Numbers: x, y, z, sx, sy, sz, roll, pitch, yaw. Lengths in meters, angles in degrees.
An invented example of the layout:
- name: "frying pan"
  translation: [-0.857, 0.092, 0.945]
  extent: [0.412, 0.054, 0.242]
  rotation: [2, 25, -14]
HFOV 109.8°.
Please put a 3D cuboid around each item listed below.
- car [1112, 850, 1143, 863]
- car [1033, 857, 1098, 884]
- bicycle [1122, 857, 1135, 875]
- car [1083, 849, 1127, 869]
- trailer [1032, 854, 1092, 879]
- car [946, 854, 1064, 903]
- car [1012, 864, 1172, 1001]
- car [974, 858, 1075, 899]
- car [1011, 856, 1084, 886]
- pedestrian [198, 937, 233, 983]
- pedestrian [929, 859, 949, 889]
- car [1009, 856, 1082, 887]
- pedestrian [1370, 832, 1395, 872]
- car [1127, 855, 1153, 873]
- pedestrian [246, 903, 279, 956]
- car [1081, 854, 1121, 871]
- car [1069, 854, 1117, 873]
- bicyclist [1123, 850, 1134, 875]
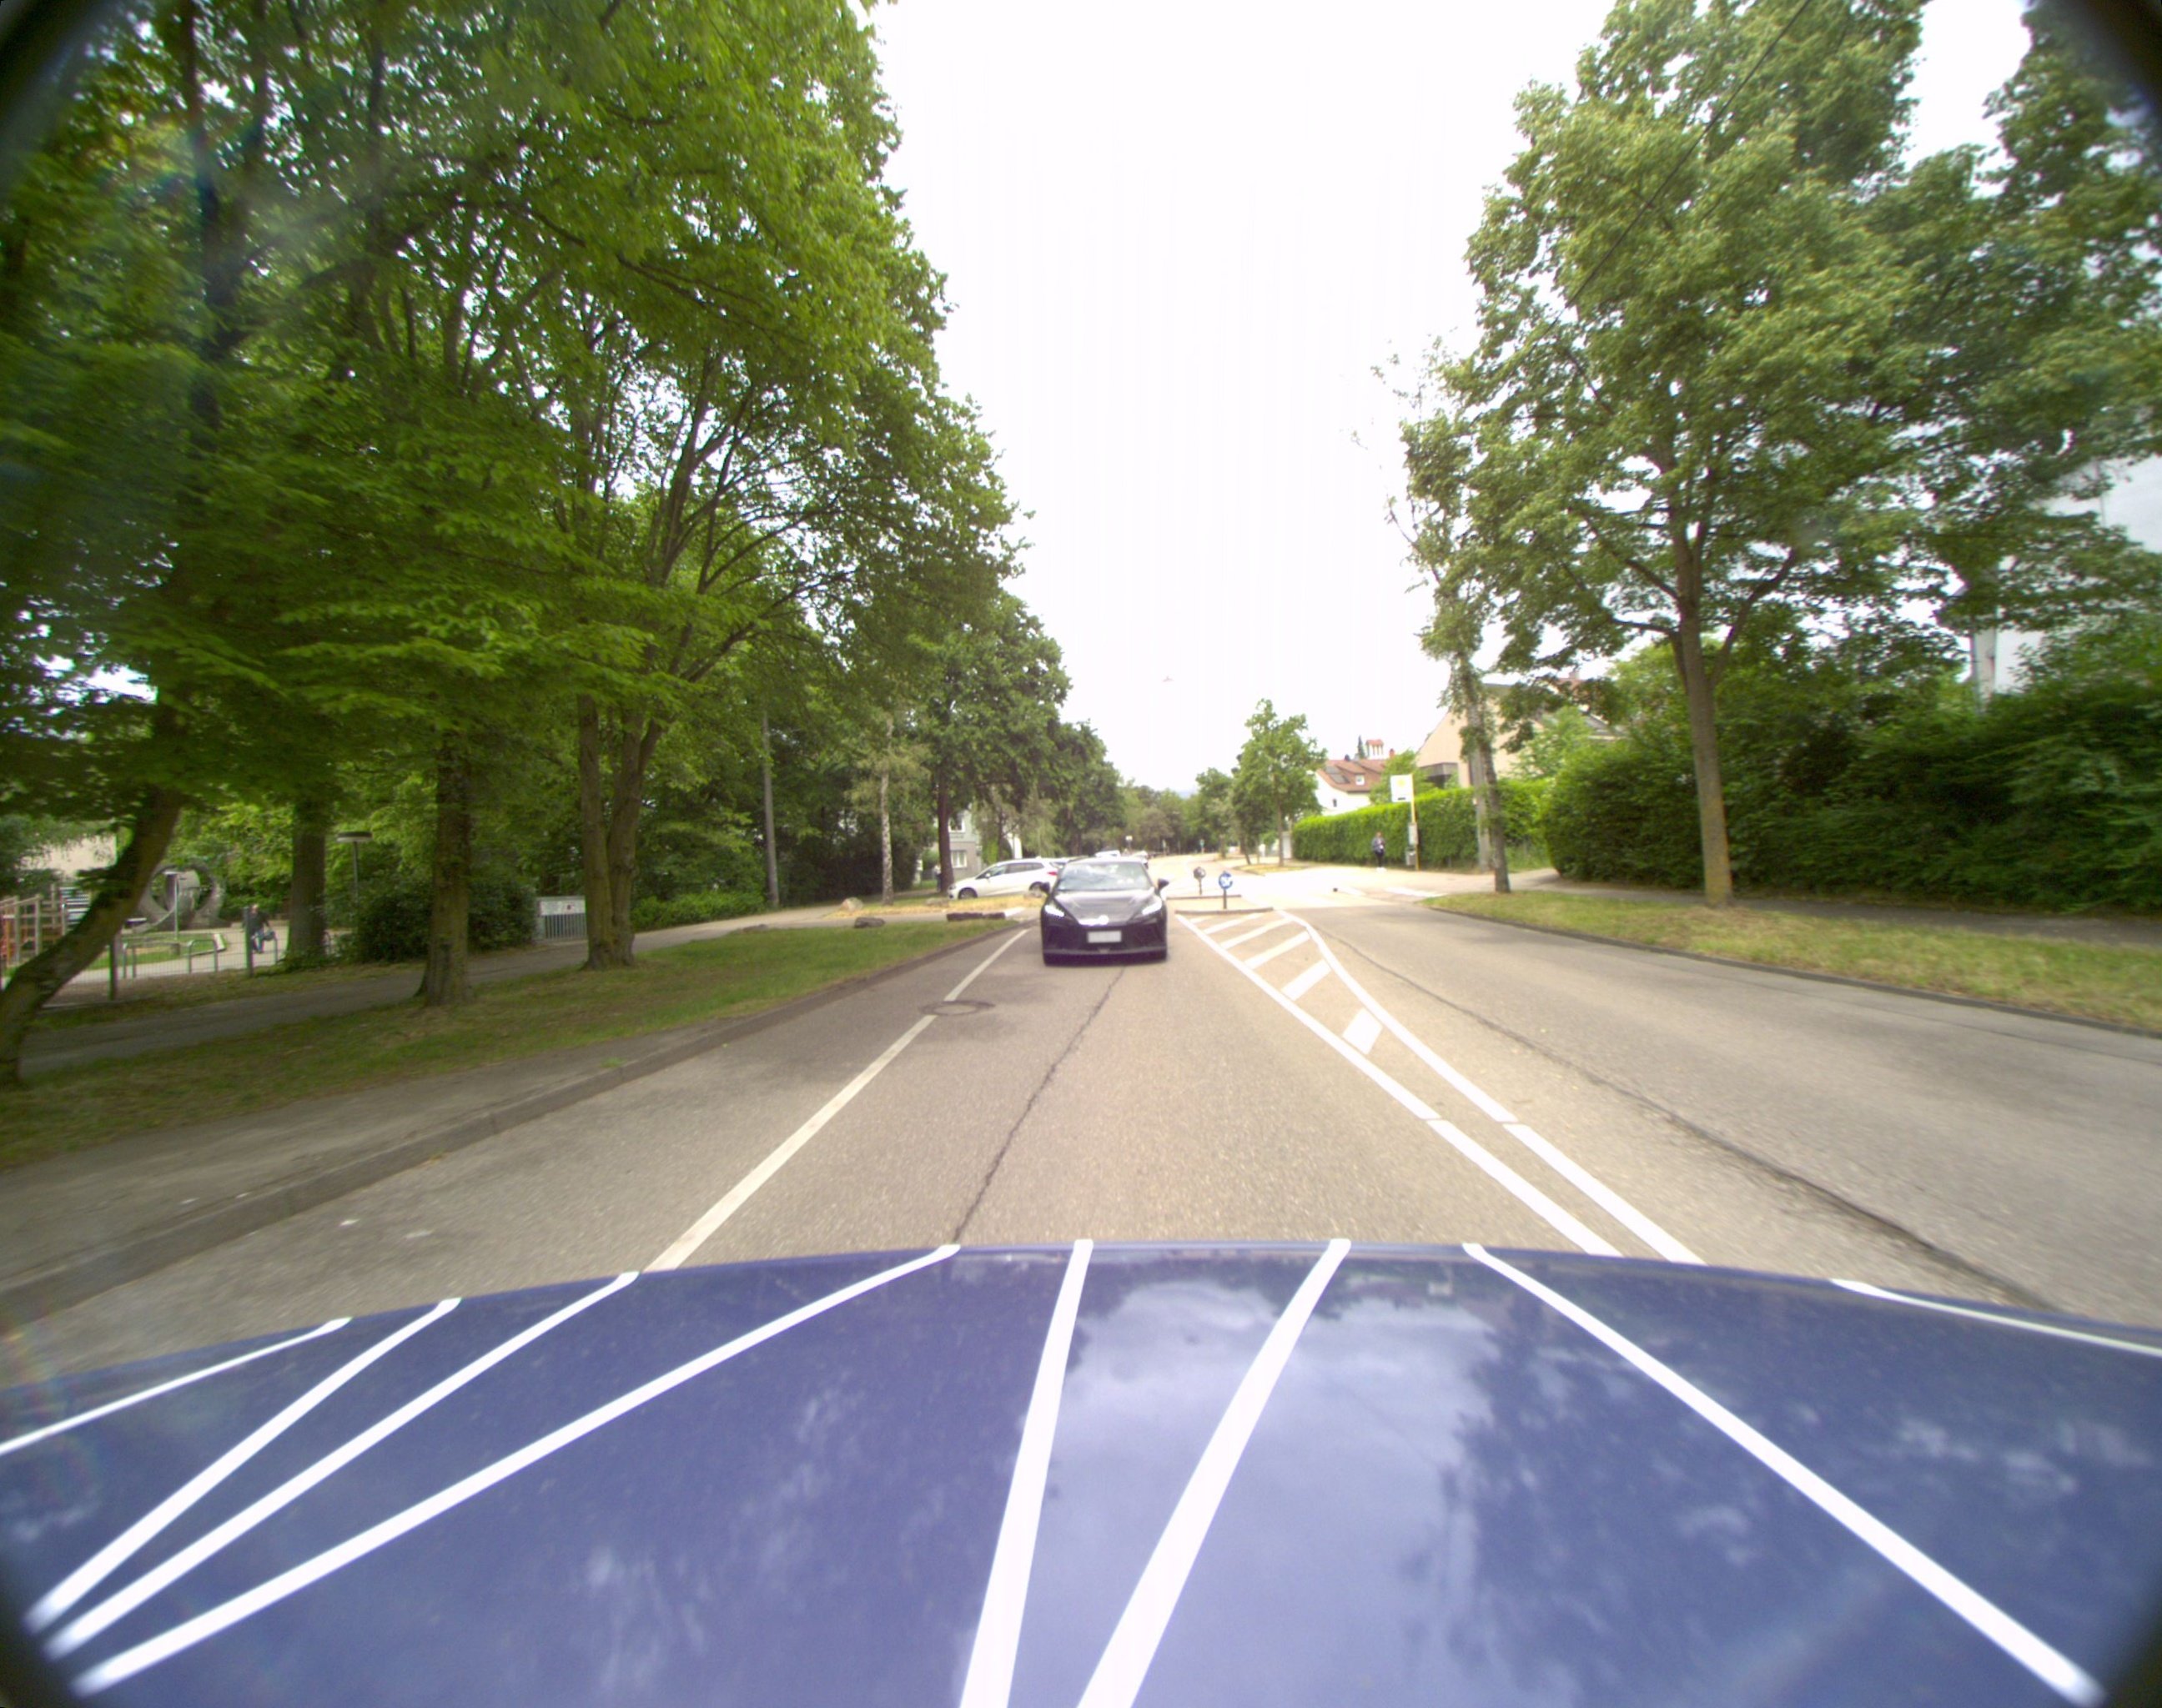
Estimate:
- name: "car"
  translation: [6.330, 0.325, 103.890]
  extent: [3.858, 1.603, 1.653]
  rotation: [-3, 0, -11]
- name: "car"
  translation: [-1.061, 1.108, 51.808]
  extent: [4.003, 1.455, 1.848]
  rotation: [-5, 1, -21]
- name: "bicycle"
  translation: [3.542, 0.899, 56.820]
  extent: [0.648, 1.230, 1.877]
  rotation: [-3, 0, -2]
- name: "car"
  translation: [2.564, 0.516, 81.421]
  extent: [4.224, 1.748, 1.857]
  rotation: [-5, 1, -16]
- name: "trailer"
  translation: [-1.405, 0.862, 54.483]
  extent: [4.000, 1.543, 1.657]
  rotation: [-3, 0, -10]
- name: "car"
  translation: [-3.038, 0.953, 30.843]
  extent: [4.481, 1.576, 1.906]
  rotation: [-4, 1, -4]
- name: "car"
  translation: [0.351, 0.987, 11.047]
  extent: [1.812, 1.484, 3.795]
  rotation: [-3, 1, 8]
- name: "car"
  translation: [-2.524, 1.051, 33.547]
  extent: [4.147, 1.455, 1.796]
  rotation: [-5, 1, -11]
- name: "car"
  translation: [-2.042, 1.021, 46.128]
  extent: [4.002, 1.455, 1.793]
  rotation: [-5, 1, -16]
- name: "pedestrian"
  translation: [-20.122, 2.457, 17.668]
  extent: [0.399, 1.023, 0.401]
  rotation: [-2, 1, 26]
- name: "pedestrian"
  translation: [-7.999, 1.147, 42.859]
  extent: [0.692, 1.634, 0.779]
  rotation: [-3, 1, 27]
- name: "car"
  translation: [-2.100, 0.989, 43.846]
  extent: [3.999, 1.455, 1.865]
  rotation: [-4, 1, -7]
- name: "pedestrian"
  translation: [13.233, -0.068, 33.337]
  extent: [0.693, 1.701, 0.778]
  rotation: [-3, 1, -1]
- name: "car"
  translation: [5.247, 0.880, 67.011]
  extent: [1.860, 1.366, 4.078]
  rotation: [-3, 0, 9]
- name: "pedestrian"
  translation: [-29.827, 2.730, 27.694]
  extent: [0.862, 1.814, 0.725]
  rotation: [-2, 1, 45]
- name: "car"
  translation: [2.078, 0.894, 78.288]
  extent: [3.856, 1.430, 1.715]
  rotation: [-4, 1, -6]
- name: "car"
  translation: [1.029, 0.820, 67.864]
  extent: [3.858, 1.426, 1.713]
  rotation: [-5, 1, -16]
- name: "bicyclist"
  translation: [3.549, 0.625, 56.652]
  extent: [0.647, 1.769, 0.628]
  rotation: [-3, 1, -3]
